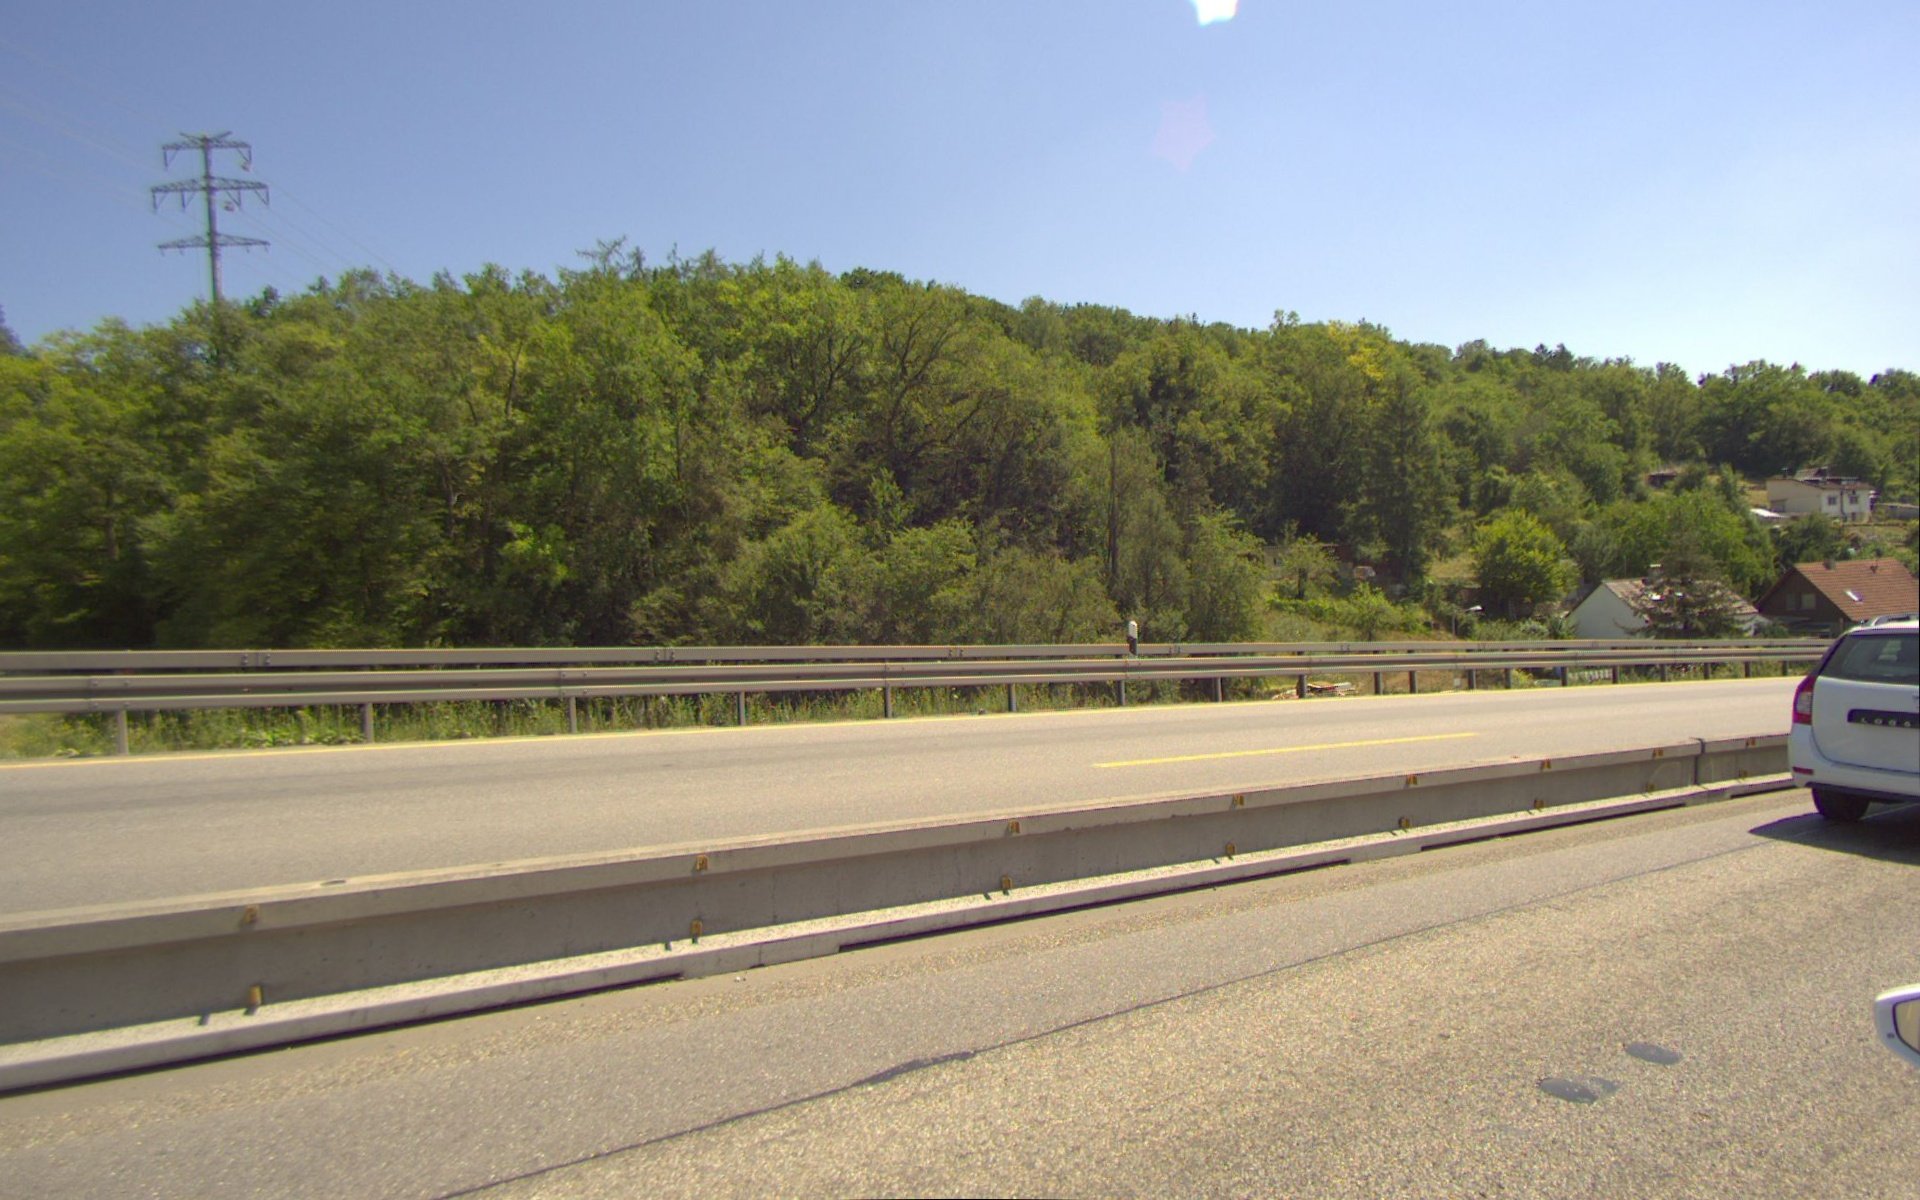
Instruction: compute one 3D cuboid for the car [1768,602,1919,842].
[{"bbox_3d":[7.864,0.821,7.352,4.216,1.503,1.644,2,-2,-30],"label":"car"}]
